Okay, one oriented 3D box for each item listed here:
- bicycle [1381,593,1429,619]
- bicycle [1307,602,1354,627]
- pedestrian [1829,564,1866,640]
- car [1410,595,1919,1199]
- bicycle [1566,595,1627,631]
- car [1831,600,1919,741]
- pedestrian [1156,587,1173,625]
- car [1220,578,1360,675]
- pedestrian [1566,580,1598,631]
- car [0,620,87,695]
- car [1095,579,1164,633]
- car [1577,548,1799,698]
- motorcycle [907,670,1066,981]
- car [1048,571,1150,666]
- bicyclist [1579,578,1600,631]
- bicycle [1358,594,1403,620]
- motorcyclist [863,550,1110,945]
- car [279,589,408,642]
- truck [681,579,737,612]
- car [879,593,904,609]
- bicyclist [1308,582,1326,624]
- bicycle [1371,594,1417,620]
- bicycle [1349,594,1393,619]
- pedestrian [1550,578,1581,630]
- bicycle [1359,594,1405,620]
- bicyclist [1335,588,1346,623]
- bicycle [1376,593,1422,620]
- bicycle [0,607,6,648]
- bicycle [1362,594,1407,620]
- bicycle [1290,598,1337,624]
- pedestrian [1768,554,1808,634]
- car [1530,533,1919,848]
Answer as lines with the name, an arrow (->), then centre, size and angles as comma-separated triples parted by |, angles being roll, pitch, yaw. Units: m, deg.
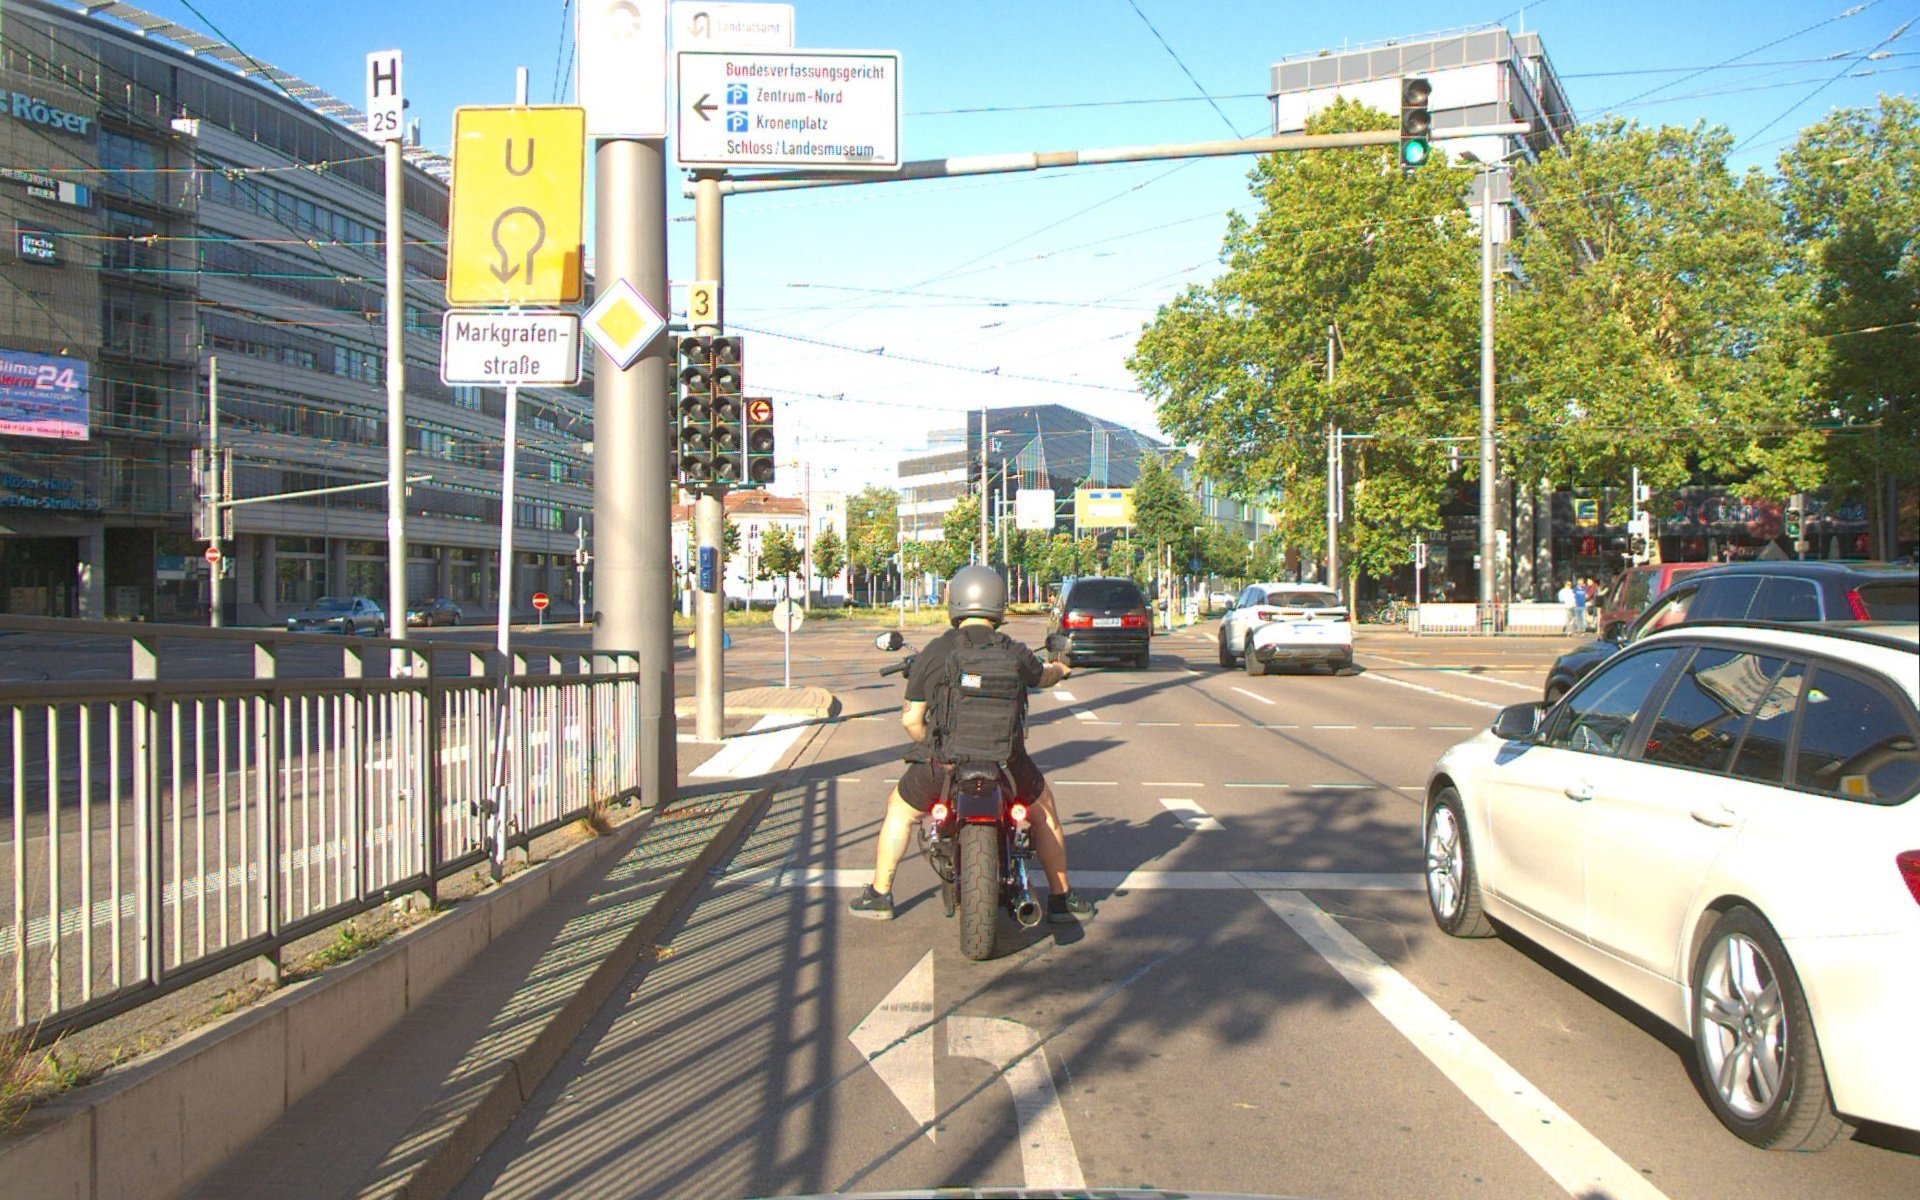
bicycle -> 18.248, 0.249, 67.839 | 1.842, 1.064, 0.360 | 1, -1, -2
bicycle -> 14.827, 0.574, 66.185 | 1.788, 0.942, 0.357 | 1, -1, 23
pedestrian -> 20.495, 0.044, 38.185 | 0.626, 1.729, 0.723 | 1, -1, 19
car -> 3.053, 0.759, 5.773 | 1.696, 1.482, 4.417 | 1, 0, -1
bicycle -> 22.607, 0.477, 58.760 | 2.001, 1.235, 0.421 | 1, -1, -1
car -> 10.871, 0.745, 16.789 | 1.698, 1.475, 4.037 | 1, 0, -5
pedestrian -> 8.731, 0.259, 70.594 | 0.576, 1.584, 0.488 | 1, -1, -9
car -> 5.948, 0.427, 30.282 | 1.696, 1.626, 4.040 | 1, 1, -1
pedestrian -> 18.662, 0.165, 49.639 | 0.557, 1.505, 0.698 | 1, -1, -21
car -> -14.538, 0.830, 24.327 | 2.835, 1.081, 1.235 | 1, -1, -22
car -> 5.610, 0.208, 55.122 | 1.767, 1.708, 4.039 | 1, -1, -2
car -> 10.911, 0.336, 25.146 | 1.765, 2.044, 4.476 | -1, -1, 6
motorcycle -> 0.084, 0.900, 7.380 | 0.588, 1.054, 2.233 | 1, 0, -1
car -> 2.650, 0.355, 32.378 | 1.766, 1.708, 4.042 | 1, -1, 2
bicyclist -> 22.365, 0.158, 58.763 | 0.572, 1.870, 0.402 | 1, -1, -1
bicycle -> 18.188, 0.291, 71.610 | 1.842, 1.064, 0.360 | 1, 0, -2
motorcyclist -> 0.103, 0.602, 7.238 | 1.009, 1.621, 0.873 | 0, 0, -1
car -> -19.916, 0.480, 53.650 | 1.786, 1.596, 4.698 | -1, 0, 9
truck -> -15.716, -0.243, 103.810 | 1.951, 1.912, 5.160 | -3, -1, 9
car -> -6.353, 0.102, 153.335 | 1.787, 1.455, 4.532 | 0, 1, 4
bicyclist -> 14.518, 0.124, 67.265 | 0.673, 1.702, 0.541 | 0, -1, 18
bicycle -> 18.224, 0.284, 69.436 | 1.842, 1.064, 0.360 | 1, -1, -2
bicycle -> 18.065, 0.286, 72.757 | 1.842, 1.064, 0.360 | 1, 0, -2
pedestrian -> 18.089, 0.122, 49.411 | 0.556, 1.559, 0.699 | 1, -1, -15
bicycle -> 18.146, 0.293, 71.108 | 1.842, 1.064, 0.360 | 1, 0, -2
bicyclist -> 15.188, 0.213, 66.038 | 0.373, 1.397, 0.345 | 1, -1, 21
bicycle -> 18.211, 0.265, 68.621 | 1.842, 1.064, 0.360 | 1, -1, -2
bicycle -> -25.756, 0.733, 43.322 | 0.450, 1.109, 1.814 | -2, 0, -1
bicycle -> 18.117, 0.302, 70.621 | 1.842, 1.064, 0.360 | 1, -1, -2
bicycle -> 14.399, 0.446, 67.299 | 1.831, 1.062, 0.537 | 0, -1, 18
pedestrian -> 20.477, -0.145, 40.910 | 0.774, 1.931, 0.817 | 1, -1, 19
car -> 5.820, 0.535, 11.655 | 1.698, 1.762, 4.607 | 1, 0, -5
